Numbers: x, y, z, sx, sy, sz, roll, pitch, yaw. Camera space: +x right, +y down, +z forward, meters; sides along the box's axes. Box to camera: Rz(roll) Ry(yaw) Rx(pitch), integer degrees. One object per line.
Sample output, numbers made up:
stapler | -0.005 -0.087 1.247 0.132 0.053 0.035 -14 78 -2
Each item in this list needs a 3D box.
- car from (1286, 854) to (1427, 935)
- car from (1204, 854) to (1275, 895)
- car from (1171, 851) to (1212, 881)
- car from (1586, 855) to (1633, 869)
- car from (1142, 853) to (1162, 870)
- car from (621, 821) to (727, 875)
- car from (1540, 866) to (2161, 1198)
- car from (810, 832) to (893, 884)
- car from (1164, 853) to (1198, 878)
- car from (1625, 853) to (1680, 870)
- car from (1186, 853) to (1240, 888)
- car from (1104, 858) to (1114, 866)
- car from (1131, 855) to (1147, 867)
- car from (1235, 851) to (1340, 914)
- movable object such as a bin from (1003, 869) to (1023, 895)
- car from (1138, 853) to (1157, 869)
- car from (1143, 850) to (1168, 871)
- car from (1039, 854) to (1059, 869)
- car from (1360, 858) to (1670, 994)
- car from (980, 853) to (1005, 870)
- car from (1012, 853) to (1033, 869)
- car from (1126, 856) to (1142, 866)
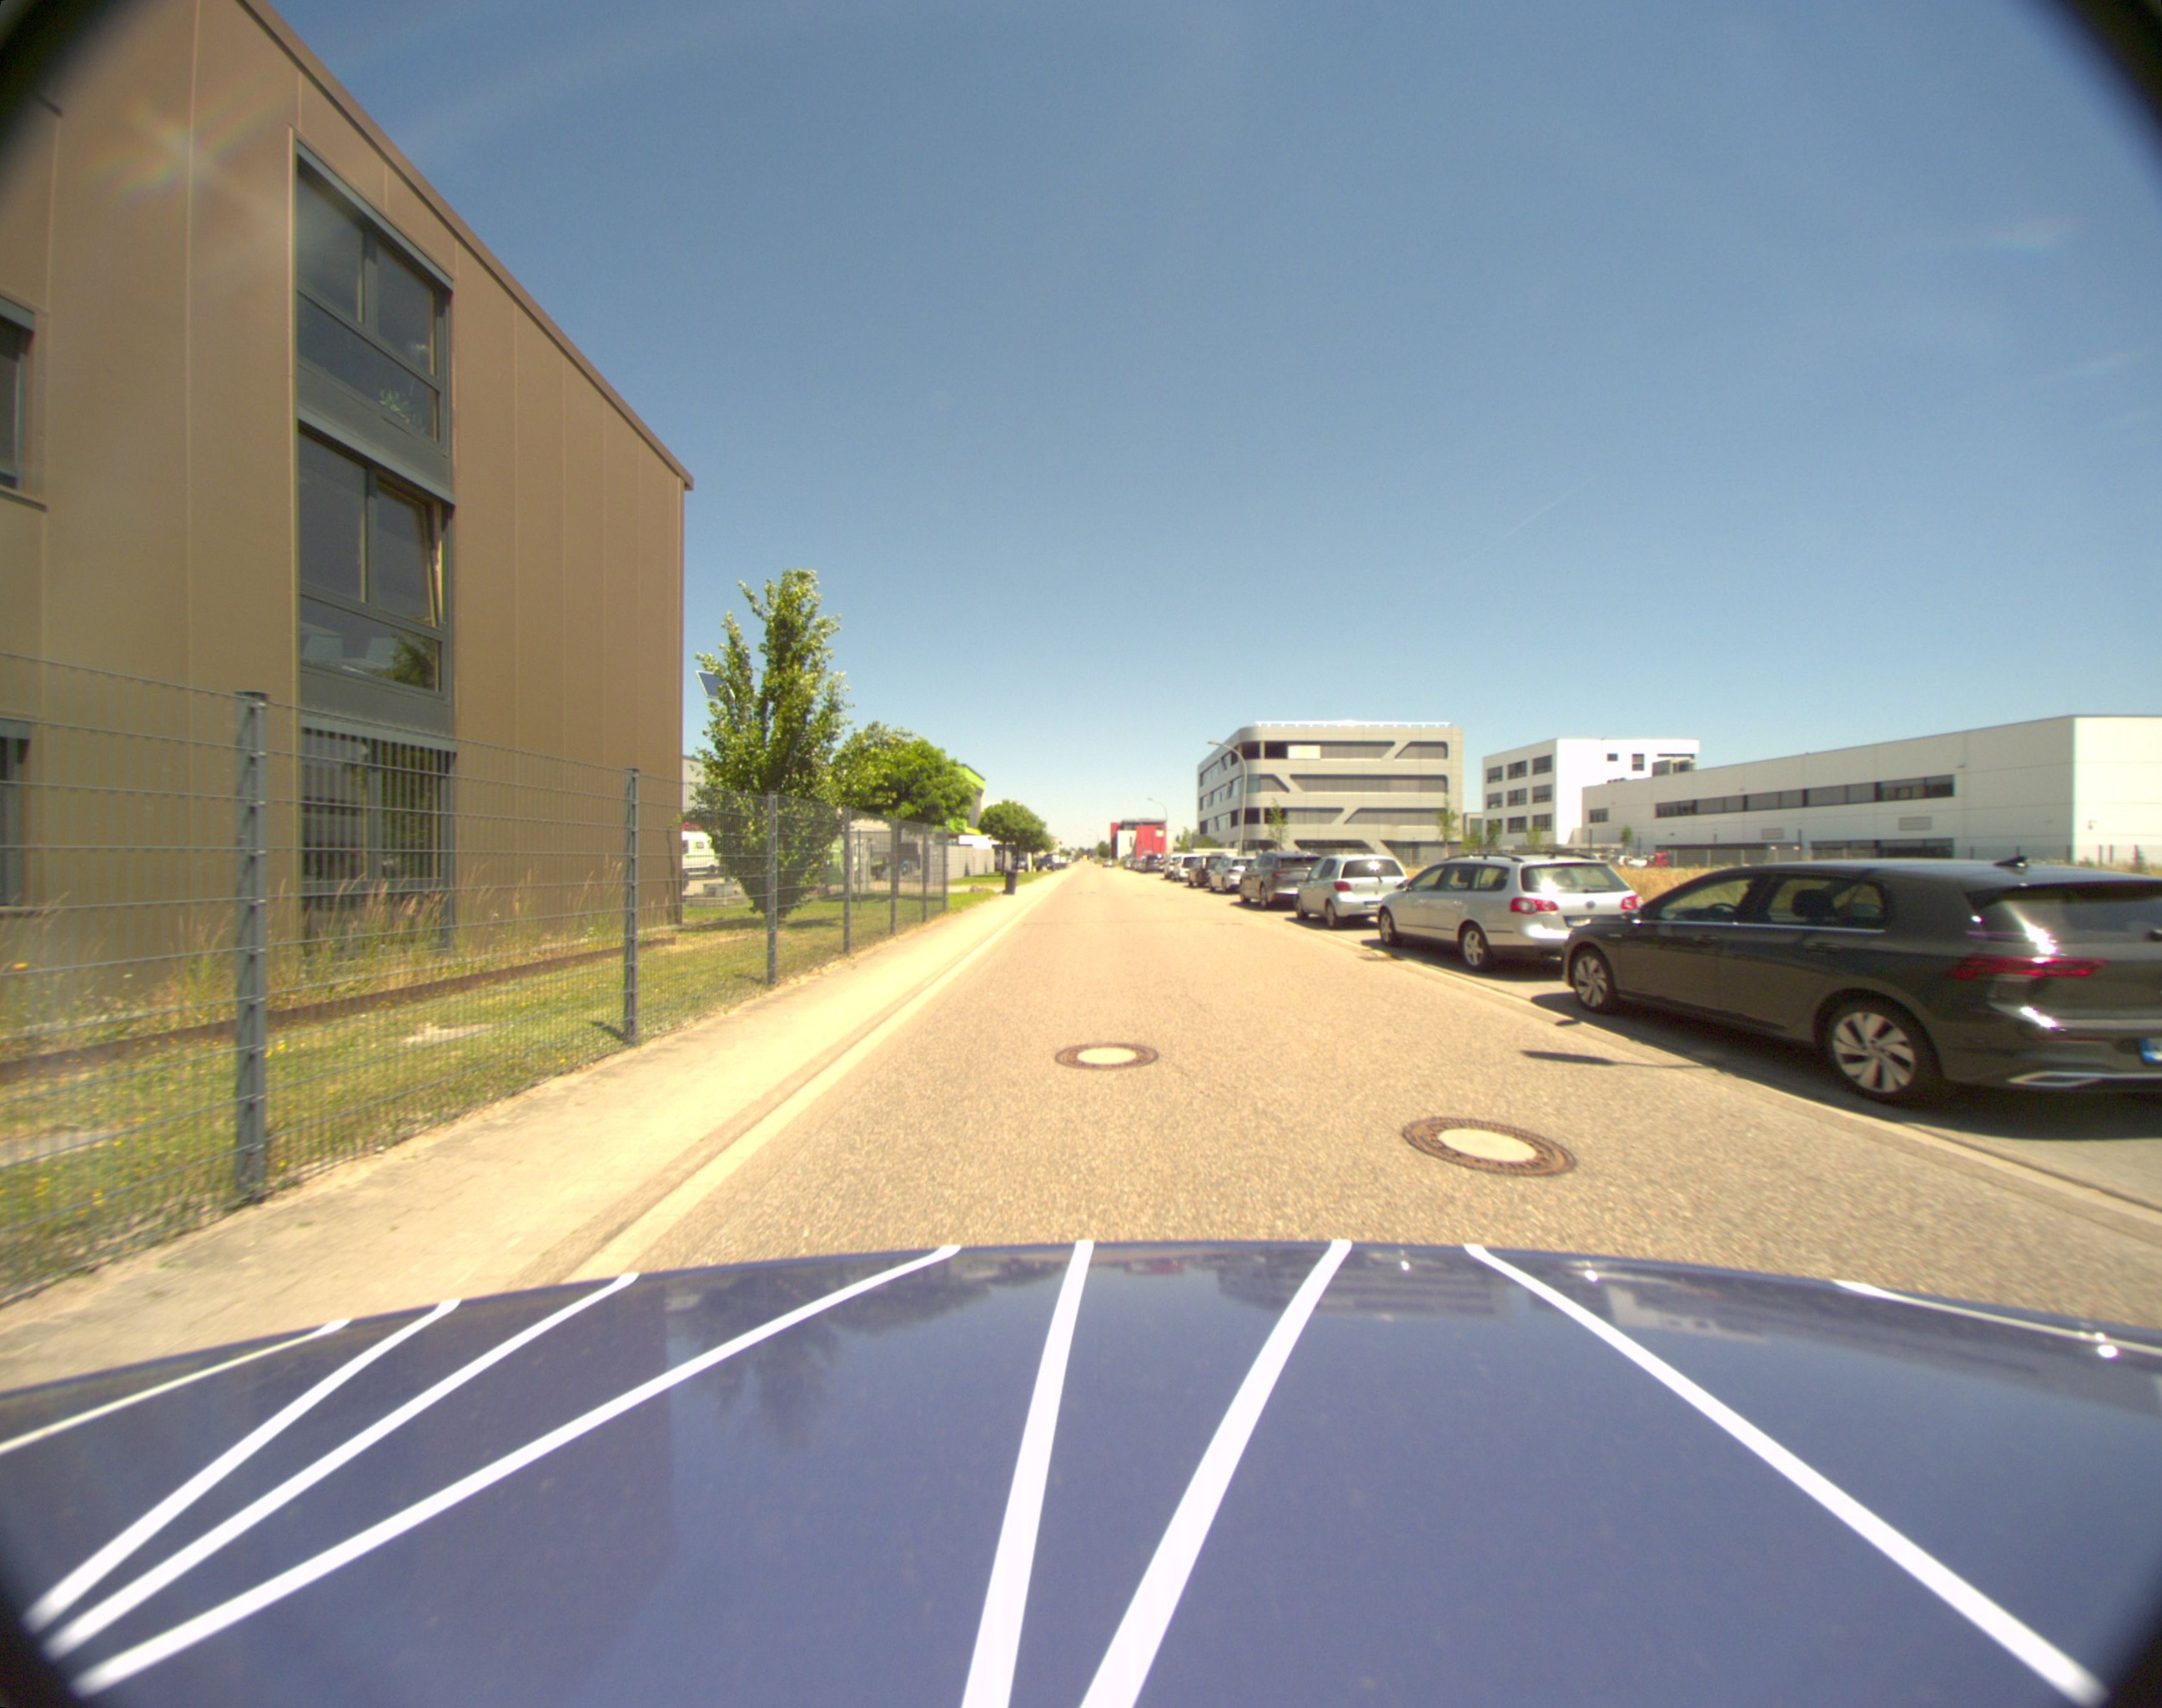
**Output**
car | 5.813 0.784 16.490 1.698 1.516 3.735 -1 0 0
car | 6.210 0.761 30.232 1.768 1.442 4.199 -1 0 -2
car | 6.248 0.644 43.271 1.791 1.647 3.768 -1 0 0
car | 58.109 0.887 83.577 3.999 1.576 1.921 0 0 -6
car | 6.826 0.711 73.666 1.638 1.491 3.972 -1 0 2
car | -20.625 -0.280 38.899 2.135 2.479 5.860 2 0 1
car | 5.666 0.890 5.749 1.861 1.472 4.229 -1 0 1
car | -12.193 0.189 40.970 2.135 2.479 7.025 2 0 1
car | 6.285 0.684 48.222 1.791 1.533 4.365 -1 0 3
car | 57.350 0.748 76.314 3.997 1.576 1.922 0 0 1
car | 6.106 0.714 35.638 1.767 1.508 4.380 -1 0 1
car | 4.932 1.409 133.453 1.708 1.403 4.785 2 0 2
car | 7.266 0.896 95.585 1.688 1.378 4.640 0 -1 2
car | 5.803 0.721 21.893 1.795 1.597 4.462 -1 0 0
movable object such as a bin | -2.497 1.020 27.735 0.553 0.923 0.522 4 1 11
car | 6.862 0.711 78.586 1.639 1.527 3.658 -1 0 0
car | 6.642 0.574 68.175 1.807 1.709 4.622 -1 0 1
car | -3.199 0.756 76.829 1.696 1.419 4.246 -1 0 1
car | 5.842 0.833 11.086 1.779 1.472 4.815 -1 0 0
car | -8.111 0.645 69.854 1.742 1.390 4.054 0 2 1
car | -5.908 0.700 77.021 1.727 1.623 4.022 -1 0 1
car | 7.233 0.962 104.237 1.704 1.378 3.937 0 -1 -2
